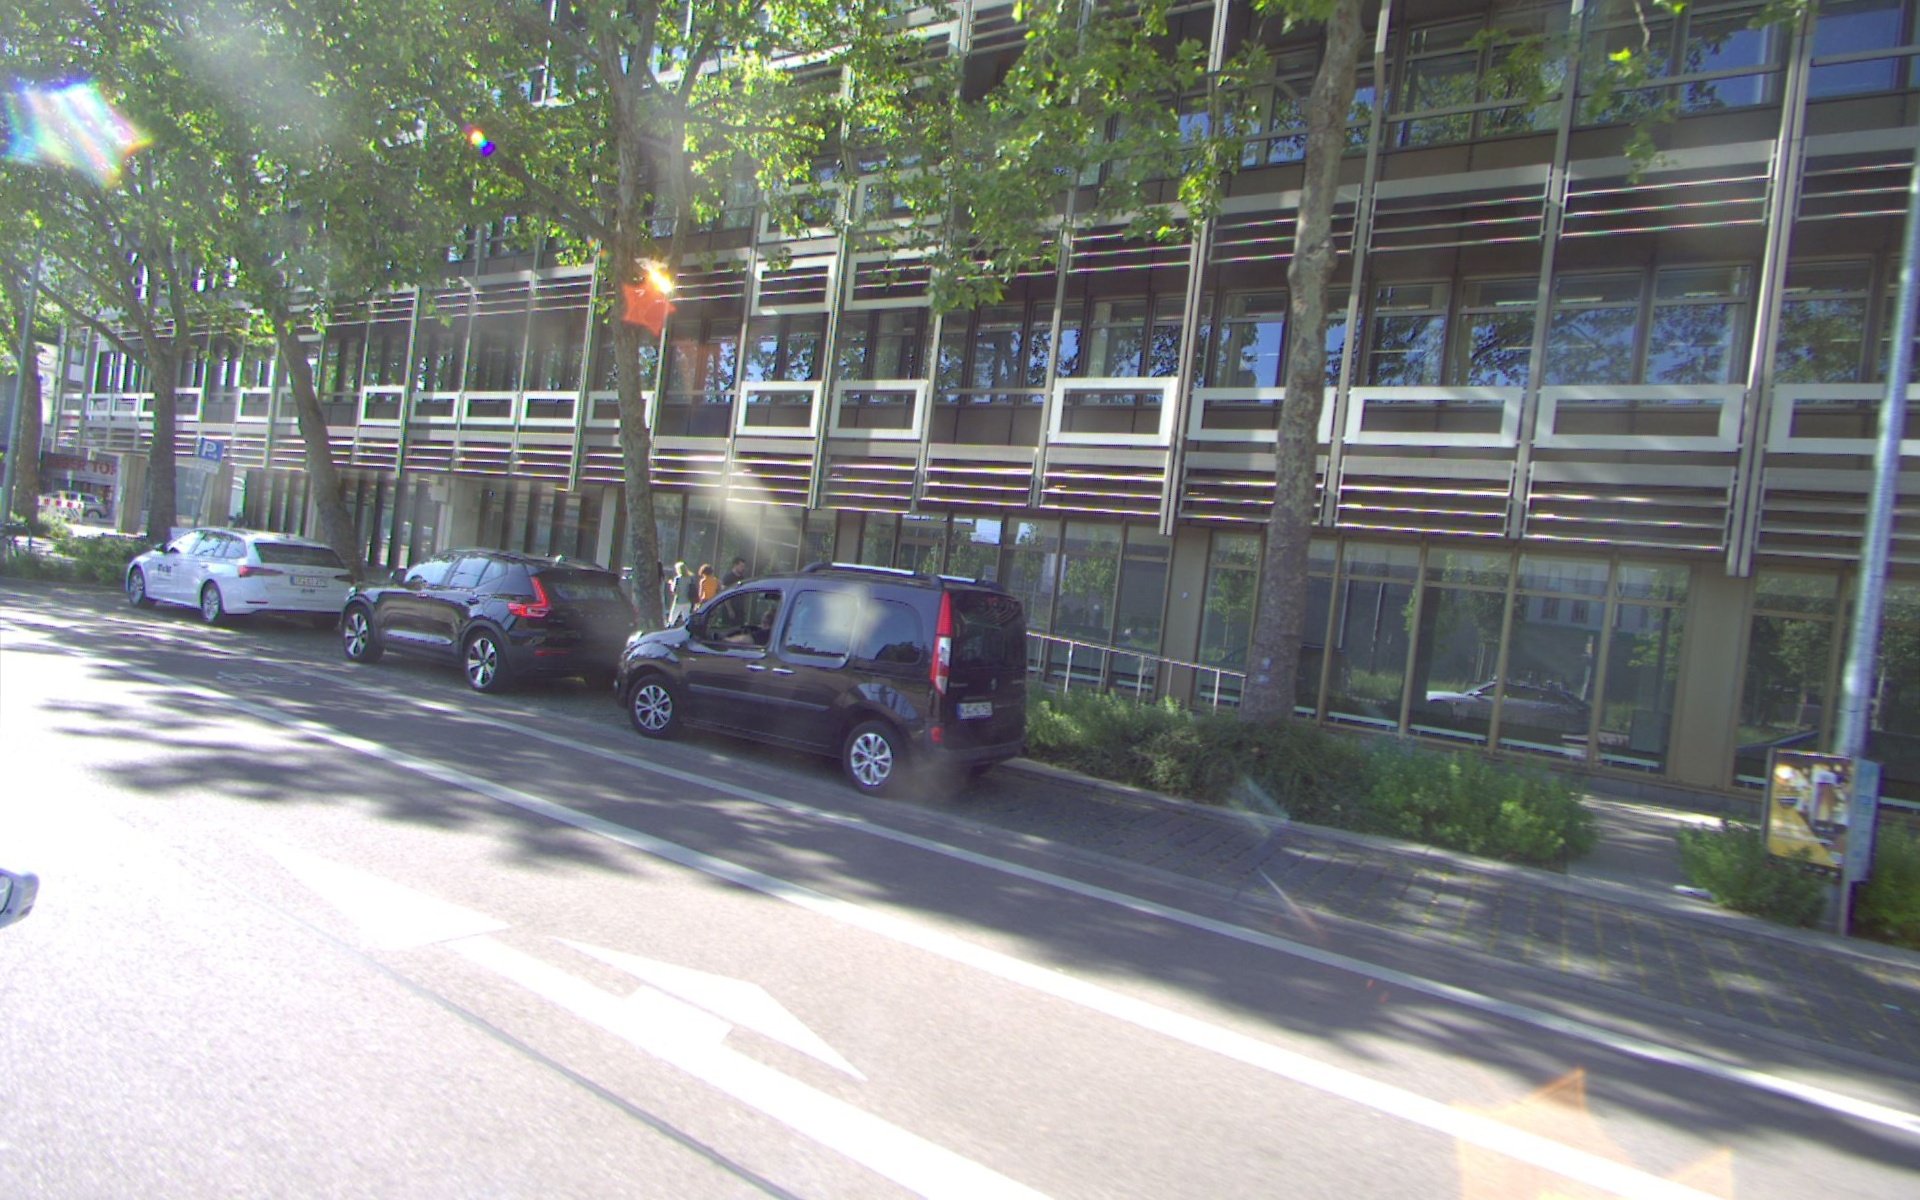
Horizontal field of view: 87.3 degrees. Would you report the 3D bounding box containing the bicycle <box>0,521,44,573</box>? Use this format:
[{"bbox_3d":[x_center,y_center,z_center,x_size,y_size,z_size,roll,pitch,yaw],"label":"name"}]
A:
[{"bbox_3d":[-19.101,-1.088,19.630,0.470,0.969,1.696,7,1,27],"label":"bicycle"}]

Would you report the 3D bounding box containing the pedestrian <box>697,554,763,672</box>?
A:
[{"bbox_3d":[-3.973,0.233,17.396,0.548,1.938,0.678,6,-2,32],"label":"pedestrian"}]

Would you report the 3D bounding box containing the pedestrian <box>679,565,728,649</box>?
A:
[{"bbox_3d":[-5.249,0.152,20.628,0.563,1.622,0.554,8,0,32],"label":"pedestrian"}]

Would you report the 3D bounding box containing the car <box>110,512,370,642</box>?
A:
[{"bbox_3d":[-11.663,-0.400,16.218,4.524,1.510,1.706,7,0,32],"label":"car"}]

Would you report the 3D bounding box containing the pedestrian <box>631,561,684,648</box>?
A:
[{"bbox_3d":[-5.867,0.095,19.503,0.623,1.604,0.507,8,0,23],"label":"pedestrian"}]

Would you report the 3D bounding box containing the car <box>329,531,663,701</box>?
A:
[{"bbox_3d":[-5.902,0.169,12.654,4.123,1.582,1.706,7,-1,32],"label":"car"}]

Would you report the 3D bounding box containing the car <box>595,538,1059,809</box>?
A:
[{"bbox_3d":[-1.367,0.548,9.615,4.122,1.813,1.705,7,2,32],"label":"car"}]

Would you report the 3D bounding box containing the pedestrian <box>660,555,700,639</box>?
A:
[{"bbox_3d":[-5.550,-0.054,19.965,0.492,1.604,0.316,8,1,23],"label":"pedestrian"}]
